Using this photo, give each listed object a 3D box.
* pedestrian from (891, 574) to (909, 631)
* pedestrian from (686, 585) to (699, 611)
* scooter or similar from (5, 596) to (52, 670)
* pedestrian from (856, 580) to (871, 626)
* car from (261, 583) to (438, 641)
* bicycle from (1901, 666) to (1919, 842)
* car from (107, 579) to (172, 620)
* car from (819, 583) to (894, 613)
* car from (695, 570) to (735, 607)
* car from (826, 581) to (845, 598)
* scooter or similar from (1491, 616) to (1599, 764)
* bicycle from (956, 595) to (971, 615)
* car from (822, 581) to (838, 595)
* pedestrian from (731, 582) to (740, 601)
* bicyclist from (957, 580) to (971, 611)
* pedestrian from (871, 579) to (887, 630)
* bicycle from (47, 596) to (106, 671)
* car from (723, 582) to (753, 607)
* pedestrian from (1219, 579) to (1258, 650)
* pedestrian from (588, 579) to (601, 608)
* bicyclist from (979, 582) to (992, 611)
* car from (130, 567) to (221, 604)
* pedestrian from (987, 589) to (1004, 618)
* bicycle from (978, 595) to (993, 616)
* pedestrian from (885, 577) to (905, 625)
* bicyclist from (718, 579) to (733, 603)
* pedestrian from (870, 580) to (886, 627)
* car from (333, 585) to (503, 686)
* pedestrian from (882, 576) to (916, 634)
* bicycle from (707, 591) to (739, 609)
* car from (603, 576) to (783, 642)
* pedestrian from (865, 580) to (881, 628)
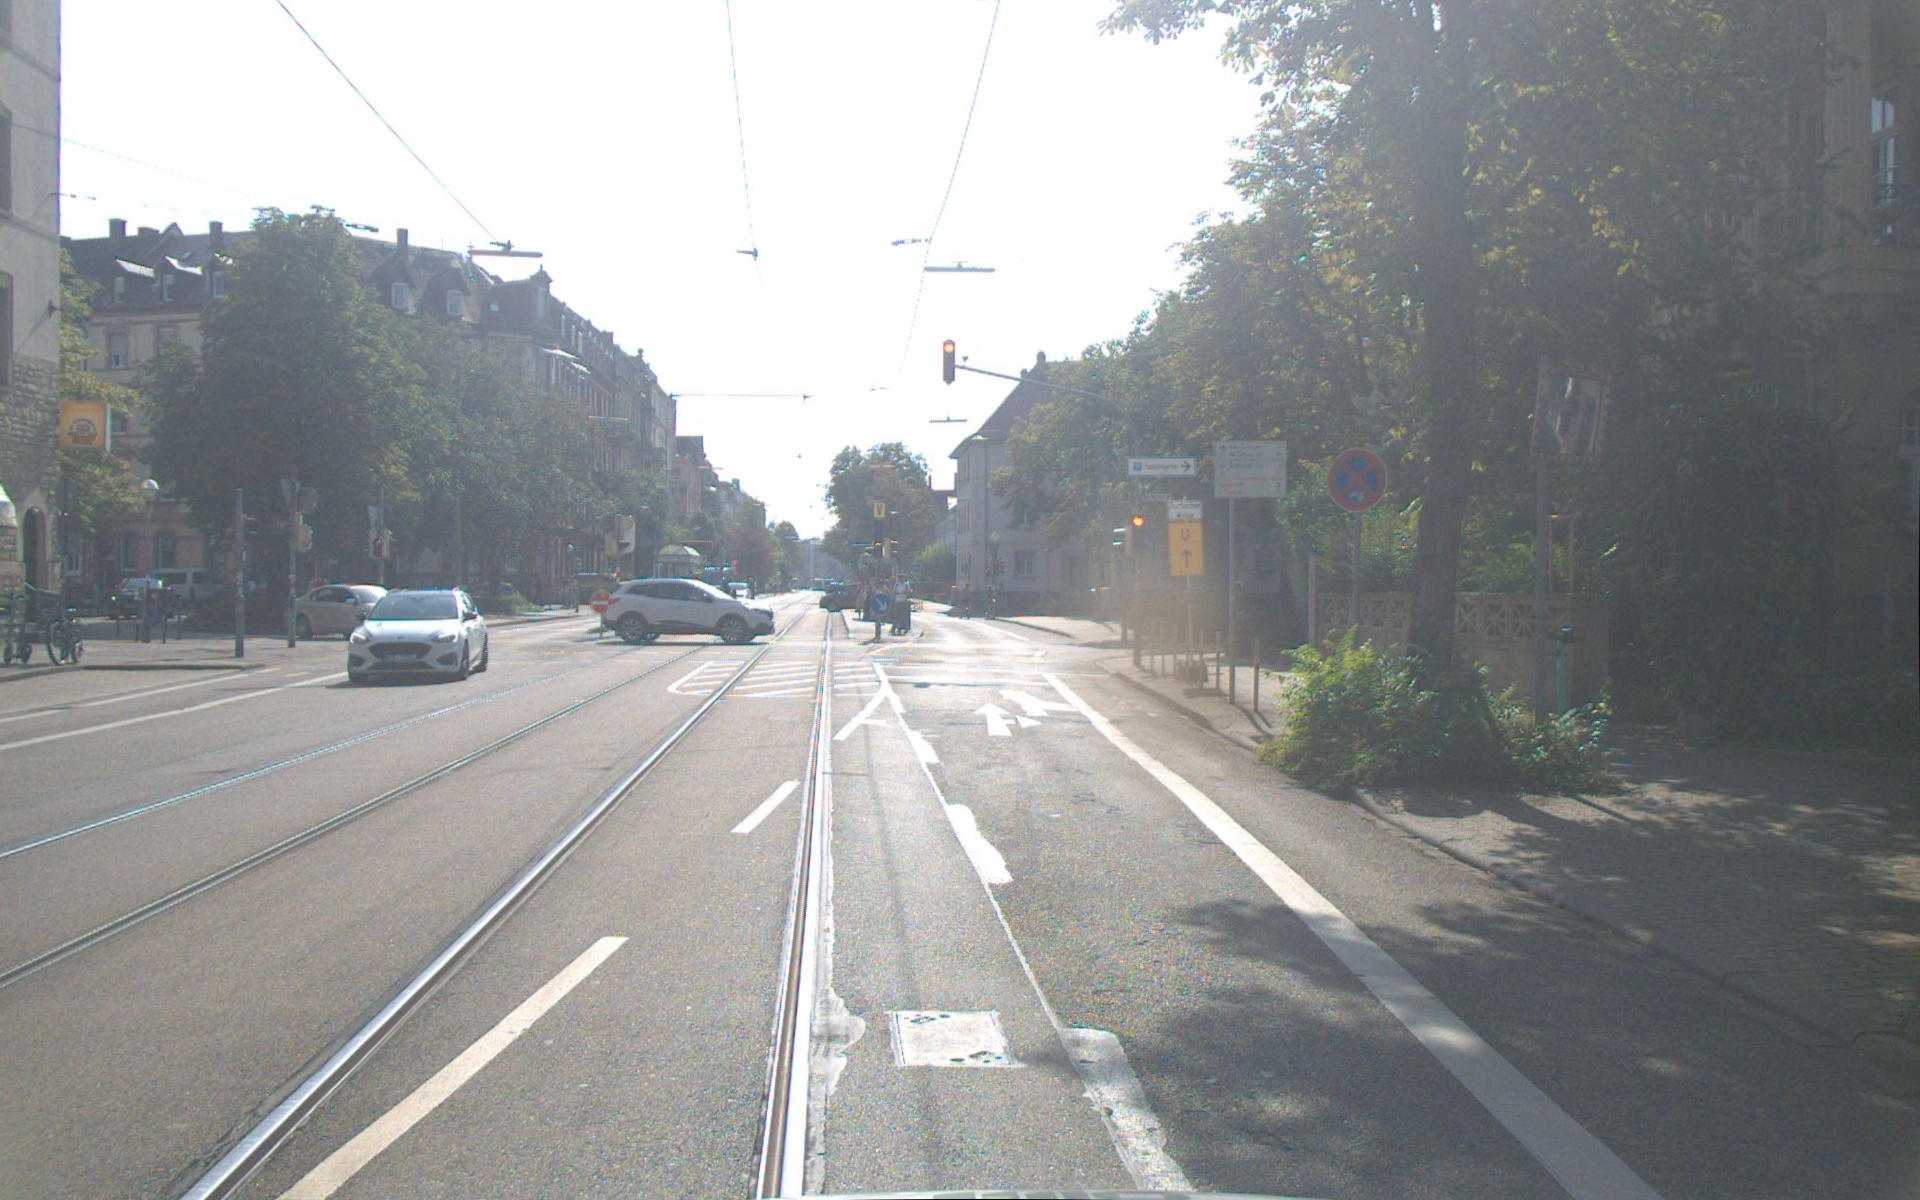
[{"bbox_3d":[-2.010,0.076,55.558,0.494,1.865,0.534,3,2,-4],"label":"pedestrian"},{"bbox_3d":[-17.828,-0.139,110.130,0.735,1.761,0.771,0,0,-2],"label":"pedestrian"},{"bbox_3d":[-15.805,0.552,28.053,1.015,1.218,0.364,0,0,40],"label":"scooter or similar"},{"bbox_3d":[-3.859,0.127,66.388,0.521,1.790,0.544,3,2,-3],"label":"pedestrian"},{"bbox_3d":[-16.781,0.298,45.434,4.676,1.492,1.869,1,0,26],"label":"car"},{"bbox_3d":[4.791,0.826,7.340,1.829,1.186,0.496,-3,-3,-45],"label":"bicycle"},{"bbox_3d":[-31.568,-0.044,63.720,1.838,1.492,4.755,0,0,-22],"label":"car"},{"bbox_3d":[-5.946,-0.129,94.630,4.237,1.705,1.998,0,0,-5],"label":"car"},{"bbox_3d":[-18.710,-0.886,126.297,2.299,2.708,5.104,0,0,0],"label":"car"},{"bbox_3d":[-12.279,-1.010,163.337,1.765,1.682,3.640,0,0,-3],"label":"car"},{"bbox_3d":[5.142,0.772,14.581,0.546,1.218,1.034,-3,0,1],"label":"scooter or similar"},{"bbox_3d":[0.180,0.258,82.731,0.616,0.995,1.768,0,0,-5],"label":"bicycle"},{"bbox_3d":[-15.787,-1.400,200.884,1.765,1.682,3.640,0,0,-3],"label":"car"},{"bbox_3d":[-21.126,-0.819,155.759,0.737,1.761,0.769,0,0,-13],"label":"pedestrian"},{"bbox_3d":[0.187,-0.238,82.728,0.616,1.534,0.678,0,0,-6],"label":"bicyclist"},{"bbox_3d":[-2.965,0.166,60.203,0.494,1.790,0.534,3,2,-4],"label":"pedestrian"},{"bbox_3d":[-15.279,0.557,28.631,0.445,1.248,1.851,0,0,-13],"label":"bicycle"},{"bbox_3d":[-15.367,-0.381,114.570,1.765,1.682,3.640,0,0,-3],"label":"car"},{"bbox_3d":[6.938,0.354,41.216,0.737,1.761,0.769,0,0,-13],"label":"pedestrian"},{"bbox_3d":[-22.701,-0.400,102.790,0.521,1.720,0.545,3,2,16],"label":"pedestrian"},{"bbox_3d":[1.257,-0.164,82.447,0.547,1.441,0.870,0,0,-6],"label":"bicyclist"},{"bbox_3d":[-40.564,-0.762,85.541,3.903,1.860,2.001,0,0,18],"label":"car"},{"bbox_3d":[2.148,0.217,101.109,0.872,1.771,0.776,0,0,17],"label":"pedestrian"},{"bbox_3d":[1.264,0.259,82.435,0.547,0.995,1.854,0,0,-5],"label":"bicycle"},{"bbox_3d":[-2.534,0.040,64.436,0.695,1.790,0.534,3,2,-4],"label":"pedestrian"},{"bbox_3d":[-13.360,-0.511,94.206,0.803,1.351,0.548,0,0,-5],"label":"bicyclist"},{"bbox_3d":[-3.216,0.146,65.011,0.532,1.790,0.534,3,2,-4],"label":"pedestrian"},{"bbox_3d":[-8.974,0.523,27.756,1.837,1.480,4.538,-2,1,-7],"label":"car"},{"bbox_3d":[-1.888,0.146,51.293,0.687,1.754,0.747,4,3,29],"label":"pedestrian"},{"bbox_3d":[-13.494,-0.004,94.201,1.814,0.975,0.548,0,0,-5],"label":"bicycle"},{"bbox_3d":[-6.877,0.209,42.887,4.227,1.659,2.001,0,0,4],"label":"car"},{"bbox_3d":[-3.369,0.152,64.190,0.532,1.790,0.534,3,2,-4],"label":"pedestrian"}]
